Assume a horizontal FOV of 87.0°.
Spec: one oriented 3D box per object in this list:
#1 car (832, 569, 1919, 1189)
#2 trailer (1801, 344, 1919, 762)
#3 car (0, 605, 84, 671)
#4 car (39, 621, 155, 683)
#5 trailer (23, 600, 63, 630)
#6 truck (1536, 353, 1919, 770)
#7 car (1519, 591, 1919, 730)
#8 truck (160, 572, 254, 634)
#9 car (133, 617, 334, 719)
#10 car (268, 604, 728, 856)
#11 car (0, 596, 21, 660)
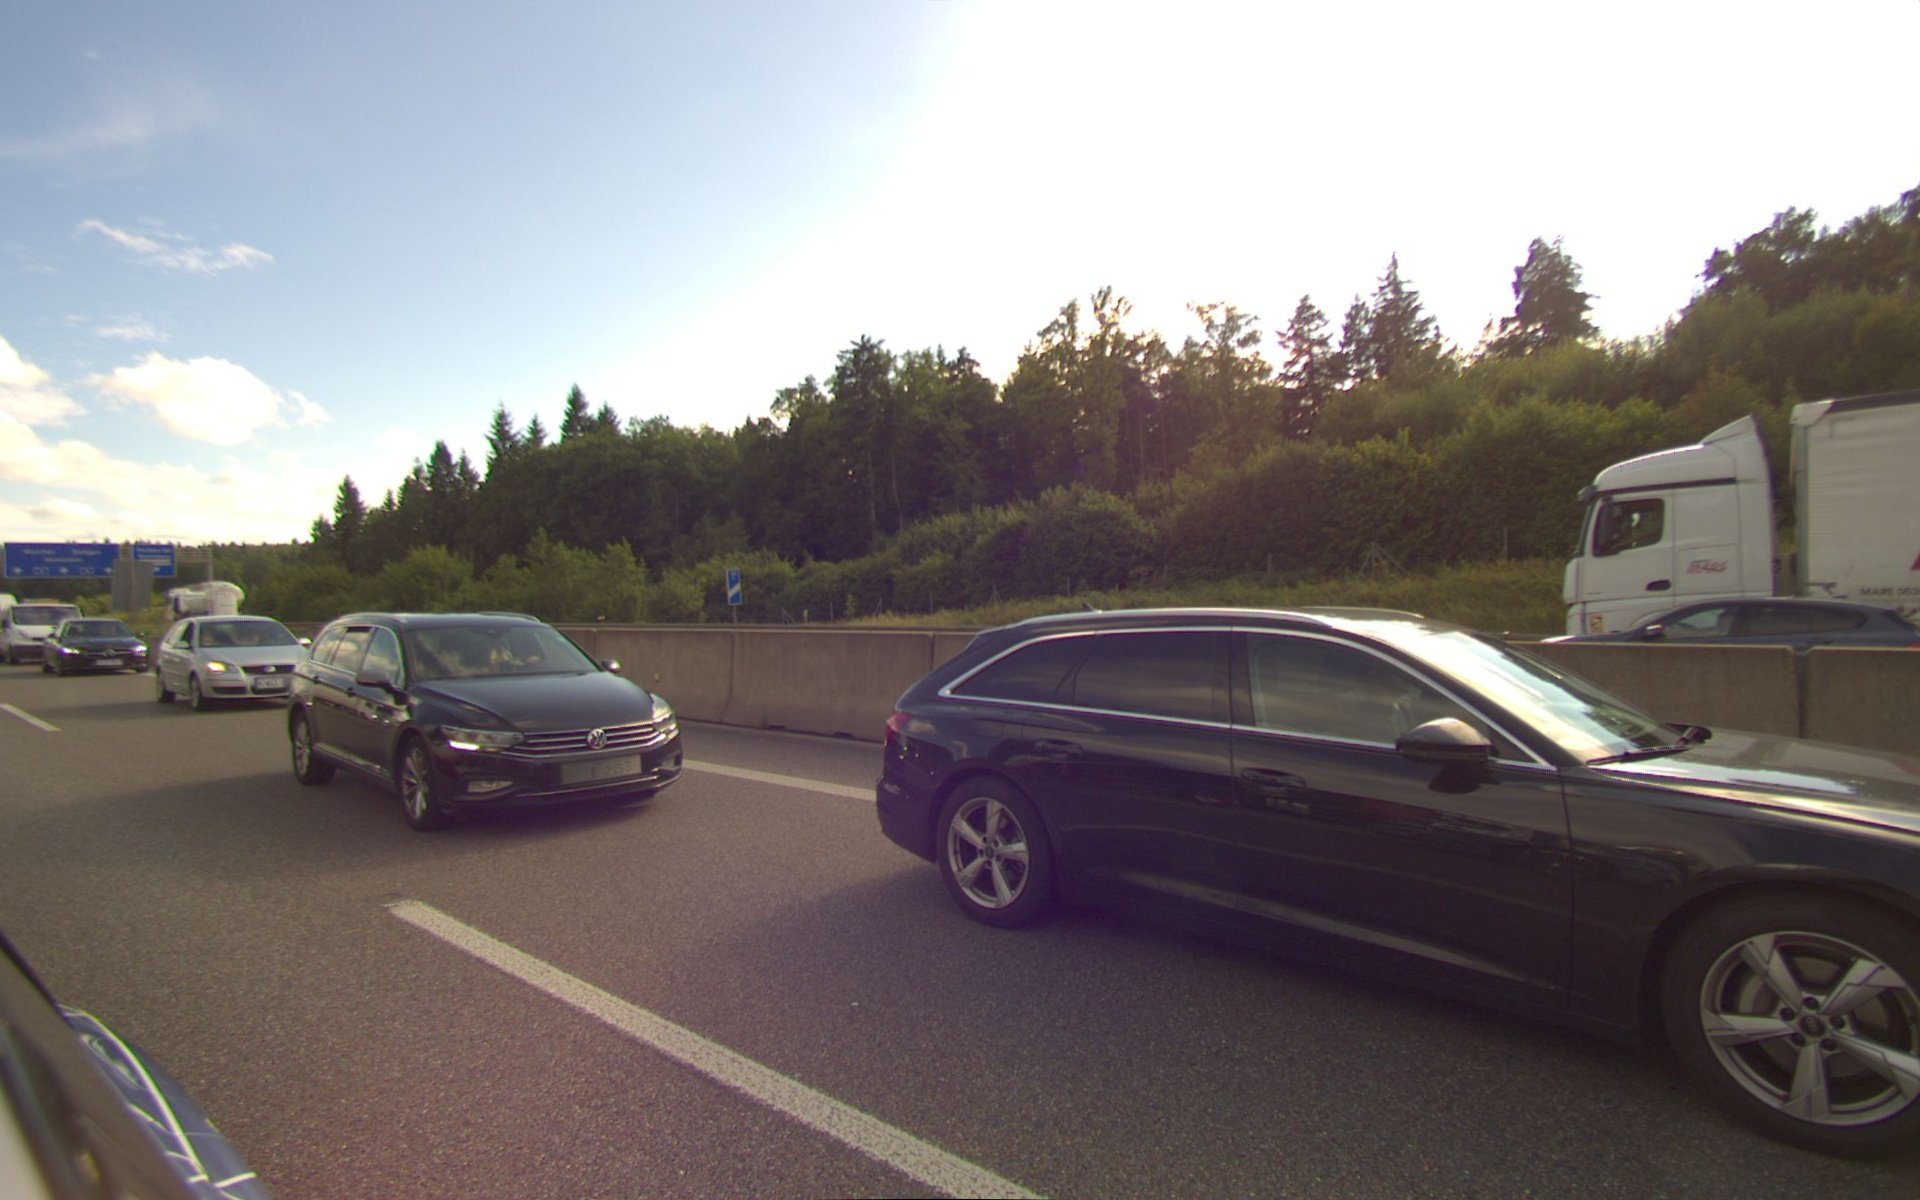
[{"bbox_3d":[1.762,0.686,4.180,4.851,1.483,1.862,-1,0,43],"label":"car"},{"bbox_3d":[17.528,-0.644,10.211,13.829,5.320,3.010,-1,0,41],"label":"trailer"},{"bbox_3d":[-30.443,1.198,33.252,4.846,1.980,1.922,-1,0,42],"label":"car"},{"bbox_3d":[-22.605,1.298,26.464,3.993,1.442,1.785,-1,0,42],"label":"car"},{"bbox_3d":[-132.761,2.133,146.473,13.557,4.234,2.804,-1,0,42],"label":"trailer"},{"bbox_3d":[12.528,-0.494,14.570,6.880,5.292,3.008,-1,0,41],"label":"truck"},{"bbox_3d":[9.446,0.651,12.313,4.322,1.438,1.934,-1,0,41],"label":"car"},{"bbox_3d":[-58.000,0.243,77.770,13.904,4.387,2.902,-1,0,41],"label":"truck"},{"bbox_3d":[-12.269,1.036,16.962,4.665,1.442,1.785,-1,0,42],"label":"car"},{"bbox_3d":[-3.982,0.806,8.275,4.569,1.488,1.890,-1,-1,44],"label":"car"},{"bbox_3d":[-41.420,1.167,42.751,5.860,2.591,2.027,-1,-2,42],"label":"car"}]
